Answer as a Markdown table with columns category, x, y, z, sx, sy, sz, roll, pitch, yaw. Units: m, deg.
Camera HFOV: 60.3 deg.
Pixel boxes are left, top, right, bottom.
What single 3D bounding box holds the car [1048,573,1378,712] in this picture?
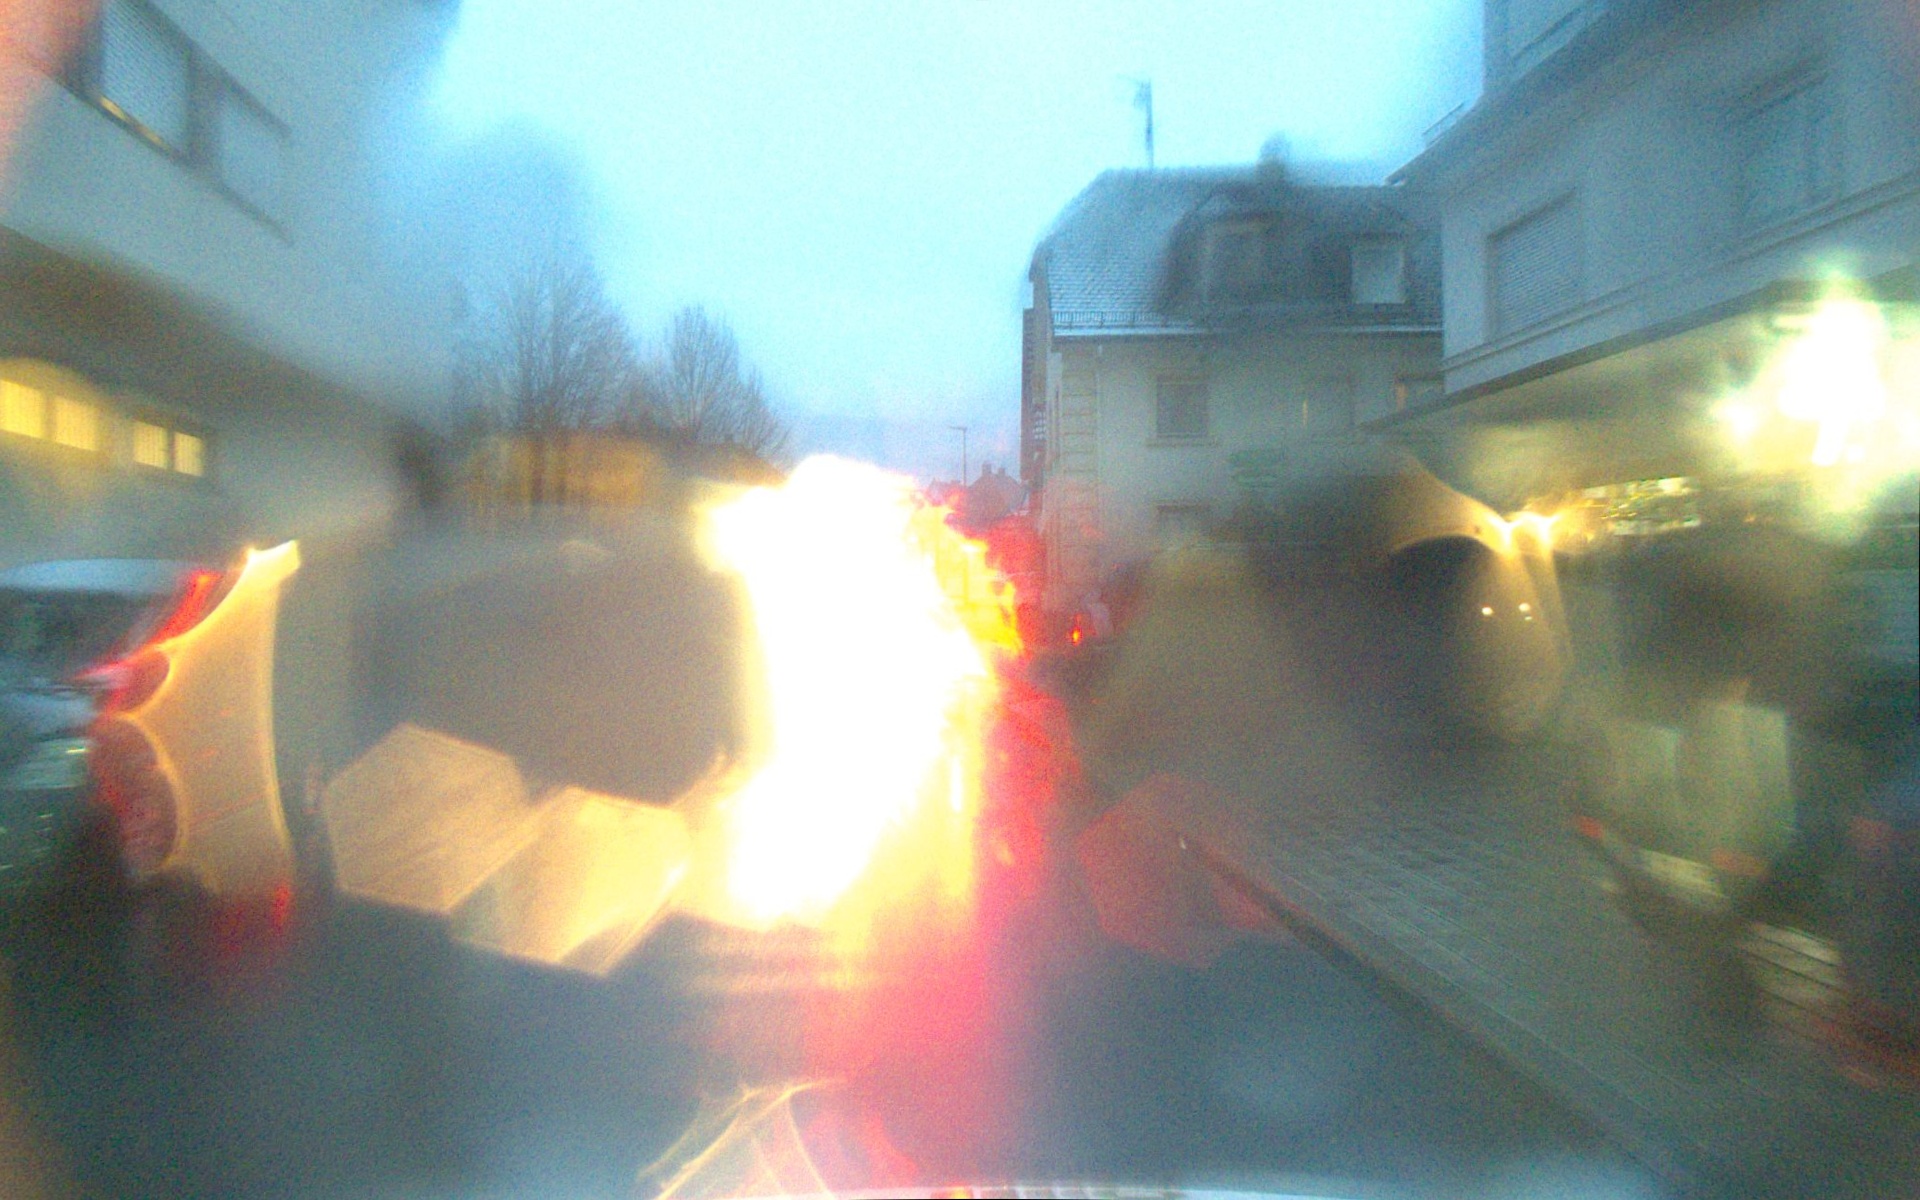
| category | x | y | z | sx | sy | sz | roll | pitch | yaw |
| --- | --- | --- | --- | --- | --- | --- | --- | --- | --- |
| car | 3.157 | 0.509 | 20.978 | 3.798 | 1.607 | 1.678 | -1 | 0 | -9 |

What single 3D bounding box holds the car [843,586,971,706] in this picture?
| category | x | y | z | sx | sy | sz | roll | pitch | yaw |
| --- | --- | --- | --- | --- | --- | --- | --- | --- | --- |
| car | -0.773 | 0.585 | 22.675 | 1.605 | 1.507 | 3.376 | 1 | 0 | -4 |

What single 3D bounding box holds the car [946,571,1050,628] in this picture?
| category | x | y | z | sx | sy | sz | roll | pitch | yaw |
| --- | --- | --- | --- | --- | --- | --- | --- | --- | --- |
| car | 1.532 | -0.039 | 65.356 | 4.011 | 2.200 | 1.914 | 0 | 0 | 3 |

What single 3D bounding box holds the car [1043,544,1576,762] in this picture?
| category | x | y | z | sx | sy | sz | roll | pitch | yaw |
| --- | --- | --- | --- | --- | --- | --- | --- | --- | --- |
| car | 3.193 | 0.437 | 15.587 | 4.517 | 1.807 | 1.942 | -1 | 1 | -8 |

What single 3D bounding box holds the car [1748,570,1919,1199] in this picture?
| category | x | y | z | sx | sy | sz | roll | pitch | yaw |
| --- | --- | --- | --- | --- | --- | --- | --- | --- | --- |
| car | 4.271 | 0.619 | 3.440 | 4.379 | 1.499 | 1.896 | -2 | 1 | -5 |

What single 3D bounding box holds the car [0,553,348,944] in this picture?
| category | x | y | z | sx | sy | sz | roll | pitch | yaw |
| --- | --- | --- | --- | --- | --- | --- | --- | --- | --- |
| car | -4.810 | 0.612 | 8.945 | 1.759 | 1.671 | 3.809 | 1 | 0 | -4 |

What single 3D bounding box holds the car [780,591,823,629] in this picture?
| category | x | y | z | sx | sy | sz | roll | pitch | yaw |
| --- | --- | --- | --- | --- | --- | --- | --- | --- | --- |
| car | -7.063 | 0.429 | 73.843 | 1.775 | 1.624 | 4.396 | 0 | 1 | -4 |

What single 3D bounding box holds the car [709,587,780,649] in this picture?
| category | x | y | z | sx | sy | sz | roll | pitch | yaw |
| --- | --- | --- | --- | --- | --- | --- | --- | --- | --- |
| car | -5.666 | 0.444 | 43.803 | 1.605 | 1.562 | 3.404 | 0 | 0 | -3 |

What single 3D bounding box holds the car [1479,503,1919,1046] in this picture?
| category | x | y | z | sx | sy | sz | roll | pitch | yaw |
| --- | --- | --- | --- | --- | --- | --- | --- | --- | --- |
| car | 4.038 | 0.488 | 6.397 | 3.439 | 1.710 | 1.712 | -3 | 1 | -9 |

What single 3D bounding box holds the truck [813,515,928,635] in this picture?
| category | x | y | z | sx | sy | sz | roll | pitch | yaw |
| --- | --- | --- | --- | --- | --- | --- | --- | --- | --- |
| truck | -2.718 | -0.687 | 47.979 | 2.957 | 3.183 | 7.990 | 0 | 0 | -6 |

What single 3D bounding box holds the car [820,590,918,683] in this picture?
| category | x | y | z | sx | sy | sz | roll | pitch | yaw |
| --- | --- | --- | --- | --- | --- | --- | --- | --- | --- |
| car | -1.597 | 0.597 | 29.091 | 1.605 | 1.507 | 3.269 | 1 | 1 | -3 |
